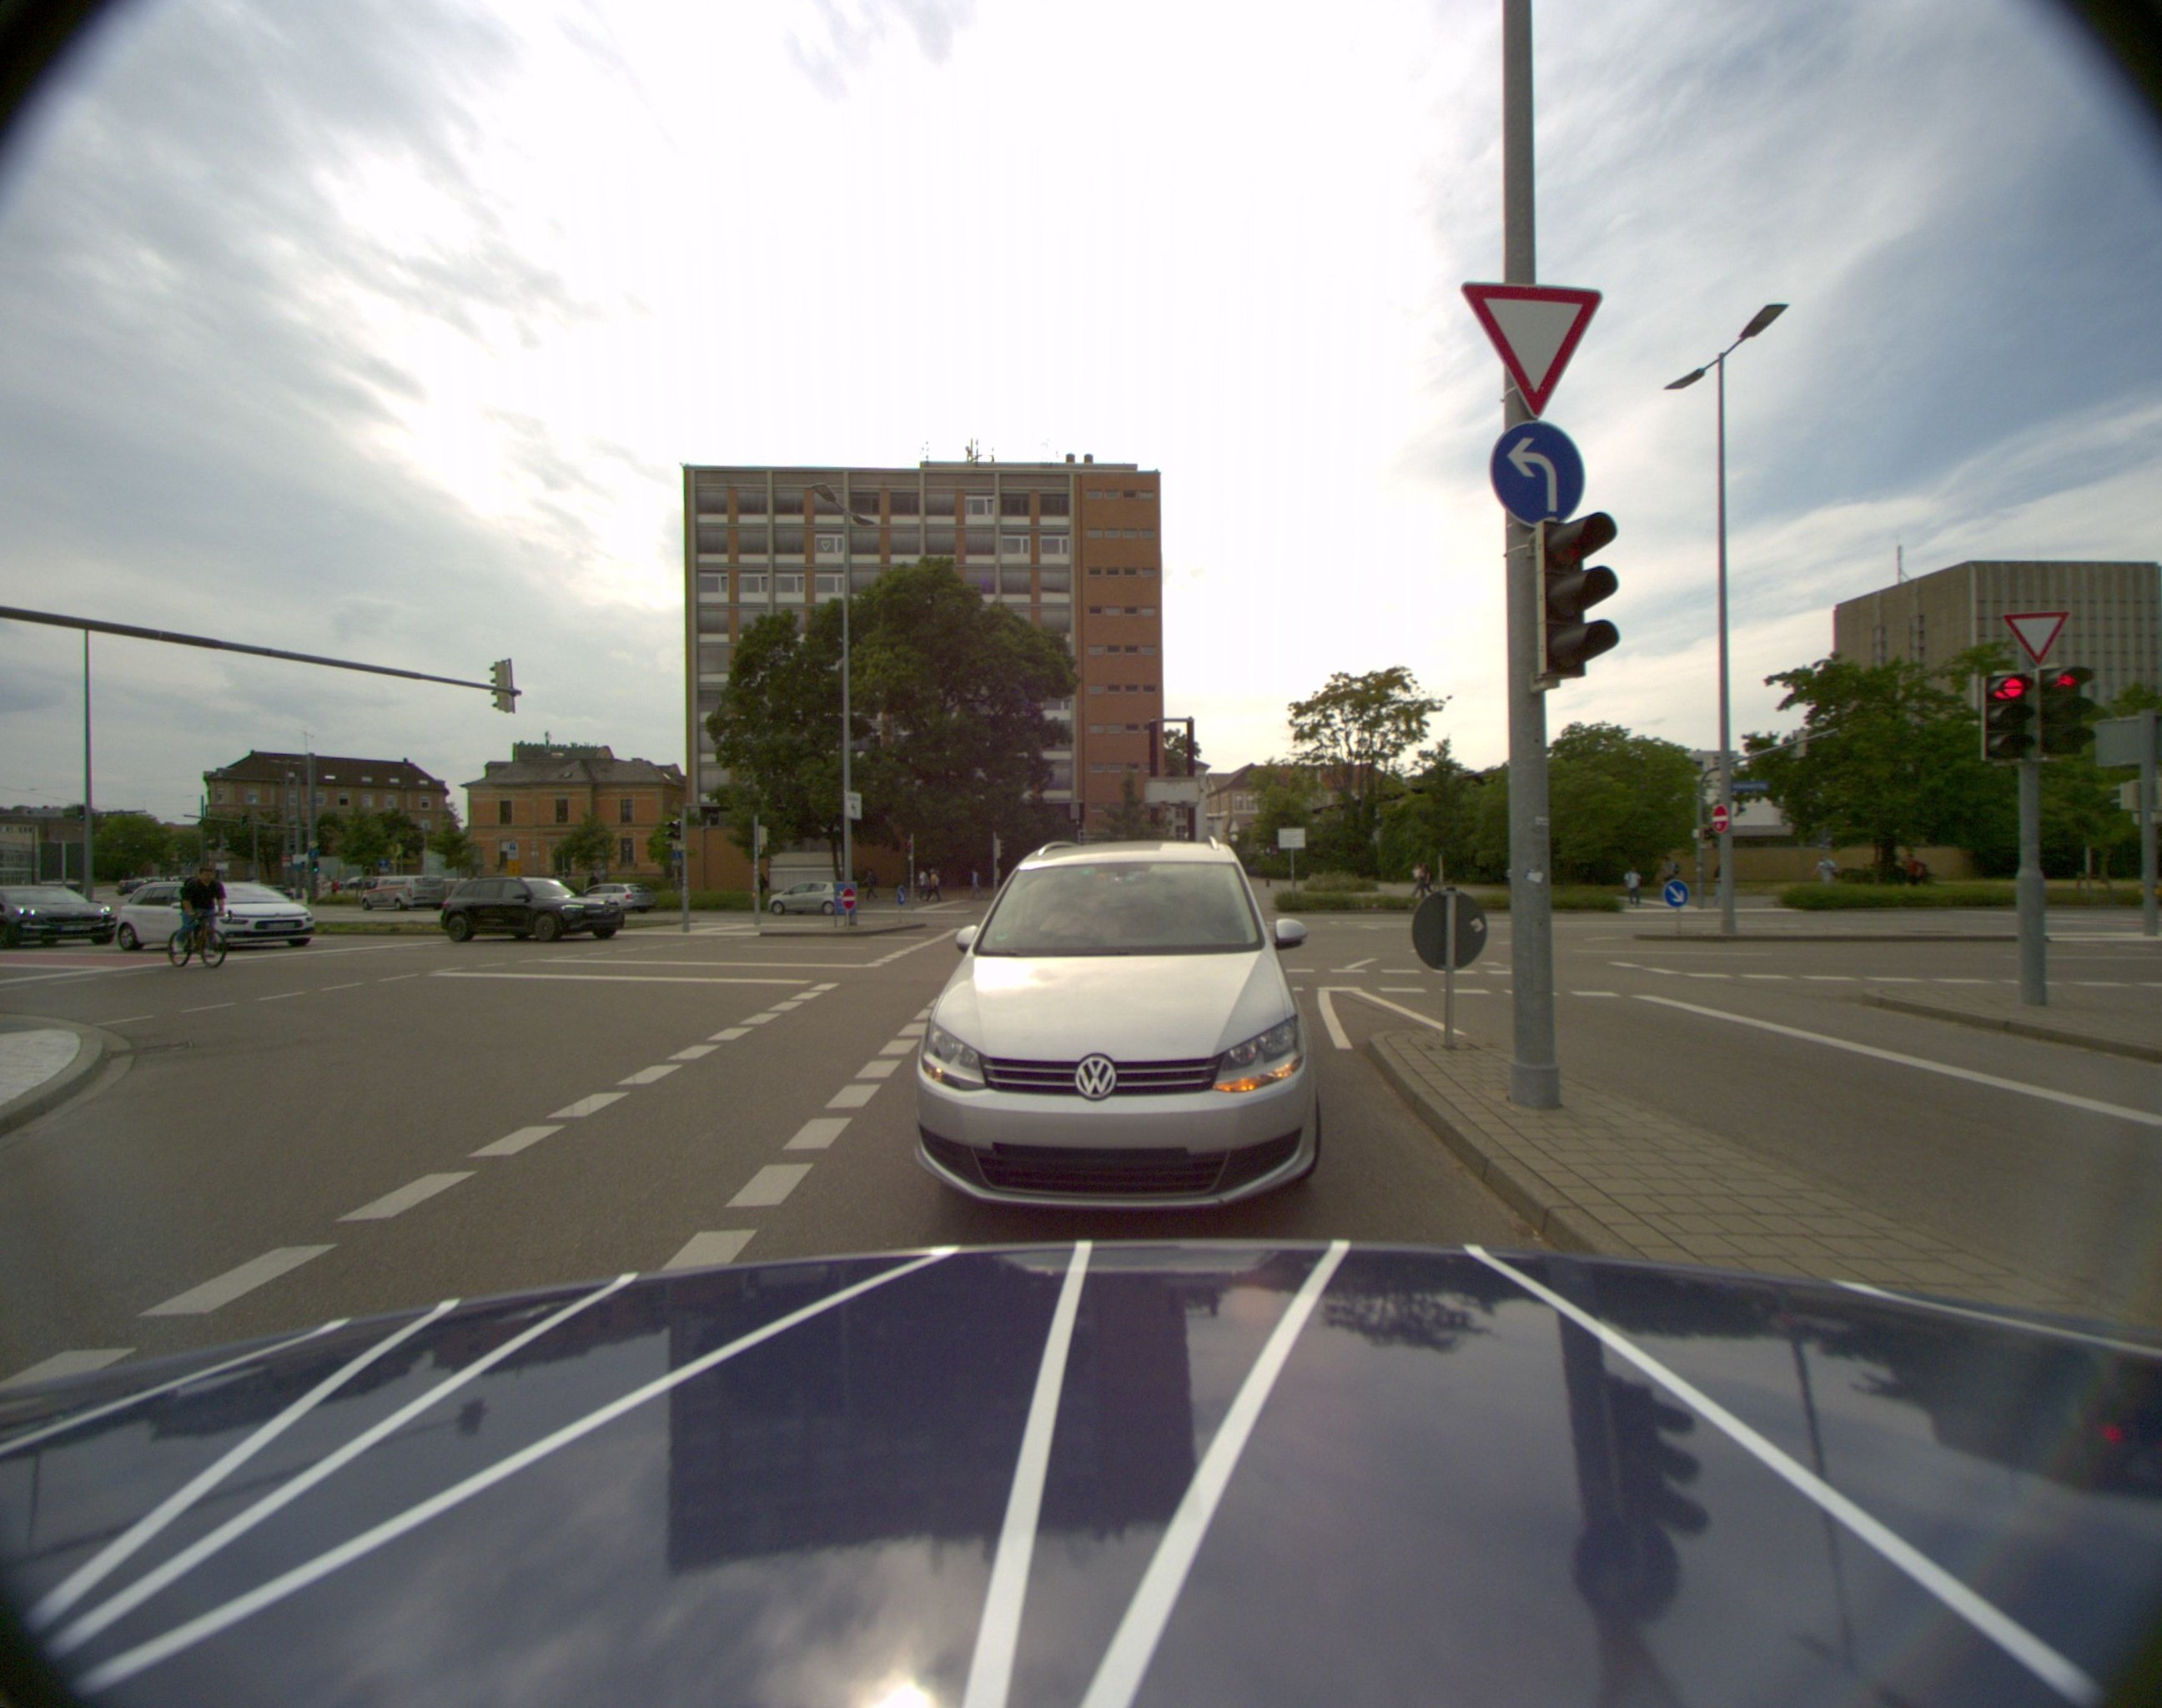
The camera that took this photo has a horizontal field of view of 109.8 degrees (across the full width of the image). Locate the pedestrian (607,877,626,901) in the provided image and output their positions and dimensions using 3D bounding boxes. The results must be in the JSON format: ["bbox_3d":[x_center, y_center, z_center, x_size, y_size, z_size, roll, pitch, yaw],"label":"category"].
[{"bbox_3d":[-31.076,2.358,50.844,0.810,1.565,0.782,-1,1,28],"label":"pedestrian"}]

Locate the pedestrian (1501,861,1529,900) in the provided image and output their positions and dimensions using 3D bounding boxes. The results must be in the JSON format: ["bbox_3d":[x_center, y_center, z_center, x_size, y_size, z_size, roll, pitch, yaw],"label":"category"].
[{"bbox_3d":[19.530,1.191,34.232,0.799,1.700,0.715,-1,-2,-1],"label":"pedestrian"}]

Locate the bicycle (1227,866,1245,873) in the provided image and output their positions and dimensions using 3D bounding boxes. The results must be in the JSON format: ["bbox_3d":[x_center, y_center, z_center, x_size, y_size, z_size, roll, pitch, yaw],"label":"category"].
[{"bbox_3d":[16.358,1.677,80.077,1.842,0.689,0.653,-1,-2,10],"label":"bicycle"}]

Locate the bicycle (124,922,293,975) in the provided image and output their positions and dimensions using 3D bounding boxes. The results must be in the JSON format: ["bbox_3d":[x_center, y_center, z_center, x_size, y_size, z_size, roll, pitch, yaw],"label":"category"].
[{"bbox_3d":[-15.781,1.700,13.761,2.515,0.871,0.866,-2,-2,11],"label":"bicycle"}]

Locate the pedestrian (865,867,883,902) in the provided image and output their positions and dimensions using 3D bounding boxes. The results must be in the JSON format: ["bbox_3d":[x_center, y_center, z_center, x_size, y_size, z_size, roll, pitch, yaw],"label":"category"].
[{"bbox_3d":[-11.070,1.604,40.601,0.707,1.841,0.640,-1,0,5],"label":"pedestrian"}]

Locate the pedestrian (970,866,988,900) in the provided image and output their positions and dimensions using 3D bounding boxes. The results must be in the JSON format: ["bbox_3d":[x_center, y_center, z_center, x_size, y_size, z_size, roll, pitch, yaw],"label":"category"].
[{"bbox_3d":[-5.260,1.504,39.206,0.707,1.701,0.640,-1,2,5],"label":"pedestrian"}]

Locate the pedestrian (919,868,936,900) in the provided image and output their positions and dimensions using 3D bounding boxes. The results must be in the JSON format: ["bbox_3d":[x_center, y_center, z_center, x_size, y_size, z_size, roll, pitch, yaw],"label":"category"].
[{"bbox_3d":[-8.051,1.573,39.945,0.707,1.701,0.640,-1,0,5],"label":"pedestrian"}]

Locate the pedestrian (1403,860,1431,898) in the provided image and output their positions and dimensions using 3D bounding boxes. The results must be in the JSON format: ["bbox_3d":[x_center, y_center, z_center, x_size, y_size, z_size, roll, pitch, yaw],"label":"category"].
[{"bbox_3d":[15.375,1.147,34.770,0.800,1.700,0.839,-1,-2,-13],"label":"pedestrian"}]

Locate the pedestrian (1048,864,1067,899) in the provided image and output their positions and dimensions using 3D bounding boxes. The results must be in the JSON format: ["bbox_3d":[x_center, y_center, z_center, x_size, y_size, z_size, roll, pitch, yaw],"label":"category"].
[{"bbox_3d":[-1.144,1.371,37.624,0.799,1.700,0.840,-1,-2,5],"label":"pedestrian"}]

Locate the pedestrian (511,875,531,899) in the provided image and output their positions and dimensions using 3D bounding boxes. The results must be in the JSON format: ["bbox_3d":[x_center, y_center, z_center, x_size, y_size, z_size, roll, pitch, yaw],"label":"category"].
[{"bbox_3d":[-37.848,2.243,51.384,0.810,1.565,0.782,-1,1,28],"label":"pedestrian"}]

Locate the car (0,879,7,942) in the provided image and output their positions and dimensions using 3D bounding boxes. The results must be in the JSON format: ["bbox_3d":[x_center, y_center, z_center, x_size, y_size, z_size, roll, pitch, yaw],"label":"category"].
[{"bbox_3d":[-34.809,1.730,22.578,4.282,1.886,2.003,-2,-2,16],"label":"car"}]

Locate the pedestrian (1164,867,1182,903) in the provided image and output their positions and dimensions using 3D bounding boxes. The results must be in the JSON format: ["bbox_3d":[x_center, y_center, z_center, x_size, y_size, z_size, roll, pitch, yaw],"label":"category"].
[{"bbox_3d":[4.380,1.472,36.320,0.799,1.700,0.840,-1,-2,5],"label":"pedestrian"}]

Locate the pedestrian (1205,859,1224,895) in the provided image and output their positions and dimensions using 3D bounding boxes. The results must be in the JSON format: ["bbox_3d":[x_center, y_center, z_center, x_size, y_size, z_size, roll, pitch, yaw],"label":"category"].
[{"bbox_3d":[6.371,1.115,36.255,0.799,1.700,0.840,-1,-2,5],"label":"pedestrian"}]

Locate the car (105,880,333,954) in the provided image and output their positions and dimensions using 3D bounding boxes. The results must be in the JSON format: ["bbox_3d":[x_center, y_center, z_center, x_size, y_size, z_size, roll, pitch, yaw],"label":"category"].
[{"bbox_3d":[-20.841,1.493,18.416,4.282,1.640,2.003,-2,-2,16],"label":"car"}]

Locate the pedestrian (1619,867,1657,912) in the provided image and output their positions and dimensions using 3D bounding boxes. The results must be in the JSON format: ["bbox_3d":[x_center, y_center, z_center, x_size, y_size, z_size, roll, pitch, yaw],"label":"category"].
[{"bbox_3d":[21.606,1.363,29.488,0.838,1.700,0.800,-1,-2,7],"label":"pedestrian"}]

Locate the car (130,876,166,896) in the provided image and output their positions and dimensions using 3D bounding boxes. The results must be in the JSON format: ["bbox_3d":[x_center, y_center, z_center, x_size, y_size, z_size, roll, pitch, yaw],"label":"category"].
[{"bbox_3d":[-96.205,3.332,78.360,3.989,2.001,2.005,-3,-3,43],"label":"car"}]

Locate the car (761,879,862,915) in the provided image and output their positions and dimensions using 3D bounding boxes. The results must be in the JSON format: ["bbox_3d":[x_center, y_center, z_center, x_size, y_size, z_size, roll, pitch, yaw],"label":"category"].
[{"bbox_3d":[-11.804,1.881,33.298,3.868,1.480,1.674,-2,-2,15],"label":"car"}]

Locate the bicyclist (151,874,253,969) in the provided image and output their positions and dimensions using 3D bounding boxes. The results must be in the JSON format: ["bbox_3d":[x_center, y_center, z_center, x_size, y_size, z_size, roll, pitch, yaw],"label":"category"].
[{"bbox_3d":[-15.952,1.214,13.809,0.879,1.658,0.871,-1,-2,11],"label":"bicyclist"}]

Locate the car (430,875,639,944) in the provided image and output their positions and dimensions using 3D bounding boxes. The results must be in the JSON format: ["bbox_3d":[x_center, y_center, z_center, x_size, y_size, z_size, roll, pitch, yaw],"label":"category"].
[{"bbox_3d":[-14.059,1.424,19.616,4.503,1.640,2.003,-2,-2,16],"label":"car"}]

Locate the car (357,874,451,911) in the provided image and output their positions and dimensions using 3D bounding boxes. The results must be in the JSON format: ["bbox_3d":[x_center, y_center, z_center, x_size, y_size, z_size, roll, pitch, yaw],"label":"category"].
[{"bbox_3d":[-38.376,2.198,43.063,5.193,1.947,1.829,-2,-2,22],"label":"car"}]

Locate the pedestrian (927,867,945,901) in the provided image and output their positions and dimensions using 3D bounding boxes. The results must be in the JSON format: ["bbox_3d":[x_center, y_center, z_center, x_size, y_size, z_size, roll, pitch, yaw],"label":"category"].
[{"bbox_3d":[-7.332,1.515,38.345,0.707,1.701,0.640,-1,1,5],"label":"pedestrian"}]

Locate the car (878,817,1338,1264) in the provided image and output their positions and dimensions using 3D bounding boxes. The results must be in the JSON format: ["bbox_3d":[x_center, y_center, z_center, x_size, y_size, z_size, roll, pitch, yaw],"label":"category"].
[{"bbox_3d":[0.344,0.828,5.305,1.823,1.723,4.533,-1,-2,7],"label":"car"}]

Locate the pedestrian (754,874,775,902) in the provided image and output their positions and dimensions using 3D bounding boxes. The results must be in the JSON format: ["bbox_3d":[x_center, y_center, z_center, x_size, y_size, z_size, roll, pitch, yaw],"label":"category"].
[{"bbox_3d":[-17.970,1.920,43.122,0.811,1.565,0.780,-1,1,5],"label":"pedestrian"}]

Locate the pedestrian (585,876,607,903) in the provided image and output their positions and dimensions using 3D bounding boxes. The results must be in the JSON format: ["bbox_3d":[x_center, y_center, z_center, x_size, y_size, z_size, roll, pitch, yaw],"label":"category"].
[{"bbox_3d":[-30.049,2.193,47.076,0.810,1.565,0.781,-1,1,24],"label":"pedestrian"}]

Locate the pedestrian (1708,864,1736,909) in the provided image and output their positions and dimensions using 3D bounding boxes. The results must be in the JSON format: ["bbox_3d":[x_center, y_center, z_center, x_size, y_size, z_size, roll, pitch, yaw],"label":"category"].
[{"bbox_3d":[24.158,1.221,28.642,0.587,1.700,0.481,-1,-2,7],"label":"pedestrian"}]

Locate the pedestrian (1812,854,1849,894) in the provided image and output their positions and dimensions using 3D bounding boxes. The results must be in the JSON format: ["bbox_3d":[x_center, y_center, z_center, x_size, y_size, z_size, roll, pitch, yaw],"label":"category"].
[{"bbox_3d":[32.226,0.858,32.677,0.694,1.700,0.842,-1,-2,-1],"label":"pedestrian"}]

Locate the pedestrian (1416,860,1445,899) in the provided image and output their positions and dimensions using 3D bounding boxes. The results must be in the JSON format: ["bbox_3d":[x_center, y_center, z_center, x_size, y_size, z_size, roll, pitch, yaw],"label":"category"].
[{"bbox_3d":[15.616,1.133,33.941,0.800,1.700,0.839,-1,-2,-13],"label":"pedestrian"}]

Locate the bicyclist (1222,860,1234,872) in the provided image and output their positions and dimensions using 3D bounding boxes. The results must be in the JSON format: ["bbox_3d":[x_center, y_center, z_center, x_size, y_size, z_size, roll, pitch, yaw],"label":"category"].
[{"bbox_3d":[14.870,1.214,77.046,1.010,1.269,0.841,-2,-1,23],"label":"bicyclist"}]

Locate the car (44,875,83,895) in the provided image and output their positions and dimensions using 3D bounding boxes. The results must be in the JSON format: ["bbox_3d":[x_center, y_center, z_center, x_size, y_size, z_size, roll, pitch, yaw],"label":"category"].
[{"bbox_3d":[-103.060,3.109,76.944,3.989,1.911,2.005,-2,-3,32],"label":"car"}]

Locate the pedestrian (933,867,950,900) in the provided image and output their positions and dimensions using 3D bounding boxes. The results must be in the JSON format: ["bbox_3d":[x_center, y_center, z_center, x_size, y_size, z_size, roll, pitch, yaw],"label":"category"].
[{"bbox_3d":[-7.175,1.515,39.099,0.707,1.700,0.640,-1,-2,5],"label":"pedestrian"}]

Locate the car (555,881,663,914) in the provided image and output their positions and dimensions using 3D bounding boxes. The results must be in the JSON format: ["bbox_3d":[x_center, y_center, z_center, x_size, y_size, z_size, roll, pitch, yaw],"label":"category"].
[{"bbox_3d":[-22.759,2.096,36.642,4.519,1.465,1.828,-2,-2,15],"label":"car"}]

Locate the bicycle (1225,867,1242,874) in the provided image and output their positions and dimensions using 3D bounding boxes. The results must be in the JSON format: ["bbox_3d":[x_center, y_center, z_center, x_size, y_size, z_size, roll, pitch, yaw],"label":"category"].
[{"bbox_3d":[16.688,1.847,83.220,1.842,0.689,0.653,-1,-2,10],"label":"bicycle"}]

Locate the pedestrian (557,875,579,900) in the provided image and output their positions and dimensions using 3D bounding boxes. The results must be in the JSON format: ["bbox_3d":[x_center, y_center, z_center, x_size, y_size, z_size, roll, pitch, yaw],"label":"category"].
[{"bbox_3d":[-32.717,2.117,48.447,0.810,1.565,0.781,-1,1,24],"label":"pedestrian"}]

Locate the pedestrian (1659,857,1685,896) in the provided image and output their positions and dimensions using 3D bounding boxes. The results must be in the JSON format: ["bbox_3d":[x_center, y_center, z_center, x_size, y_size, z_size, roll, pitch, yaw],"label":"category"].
[{"bbox_3d":[25.989,0.982,33.419,0.694,1.686,0.544,-1,2,-1],"label":"pedestrian"}]

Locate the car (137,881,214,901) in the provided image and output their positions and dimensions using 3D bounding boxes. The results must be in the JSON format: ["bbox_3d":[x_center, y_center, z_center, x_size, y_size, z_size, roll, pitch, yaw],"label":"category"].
[{"bbox_3d":[-79.835,3.268,67.055,1.999,1.673,4.001,-1,-2,0],"label":"car"}]

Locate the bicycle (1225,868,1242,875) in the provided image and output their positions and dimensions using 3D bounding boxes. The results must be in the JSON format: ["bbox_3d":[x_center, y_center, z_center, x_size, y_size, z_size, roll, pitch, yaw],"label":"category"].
[{"bbox_3d":[17.074,1.963,85.035,1.842,0.689,0.653,-1,-2,10],"label":"bicycle"}]

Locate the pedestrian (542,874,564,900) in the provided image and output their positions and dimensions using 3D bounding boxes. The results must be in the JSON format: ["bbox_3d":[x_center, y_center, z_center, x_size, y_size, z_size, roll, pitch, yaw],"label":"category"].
[{"bbox_3d":[-32.599,2.049,46.939,0.810,1.565,0.781,-1,1,24],"label":"pedestrian"}]

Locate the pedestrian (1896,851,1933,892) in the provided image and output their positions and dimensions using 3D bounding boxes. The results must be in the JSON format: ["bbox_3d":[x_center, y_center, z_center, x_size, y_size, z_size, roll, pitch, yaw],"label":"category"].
[{"bbox_3d":[35.318,0.747,32.190,0.694,1.700,0.715,-1,-2,2],"label":"pedestrian"}]

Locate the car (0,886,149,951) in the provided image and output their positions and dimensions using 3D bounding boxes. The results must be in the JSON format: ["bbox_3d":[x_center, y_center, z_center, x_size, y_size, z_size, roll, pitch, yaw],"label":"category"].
[{"bbox_3d":[-28.196,1.722,20.704,4.282,1.640,2.003,-2,-2,16],"label":"car"}]

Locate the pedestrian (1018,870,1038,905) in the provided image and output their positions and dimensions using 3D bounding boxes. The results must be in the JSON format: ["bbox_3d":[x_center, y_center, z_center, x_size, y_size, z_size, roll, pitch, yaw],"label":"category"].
[{"bbox_3d":[-2.552,1.622,36.750,0.799,1.700,0.840,-1,-2,5],"label":"pedestrian"}]
